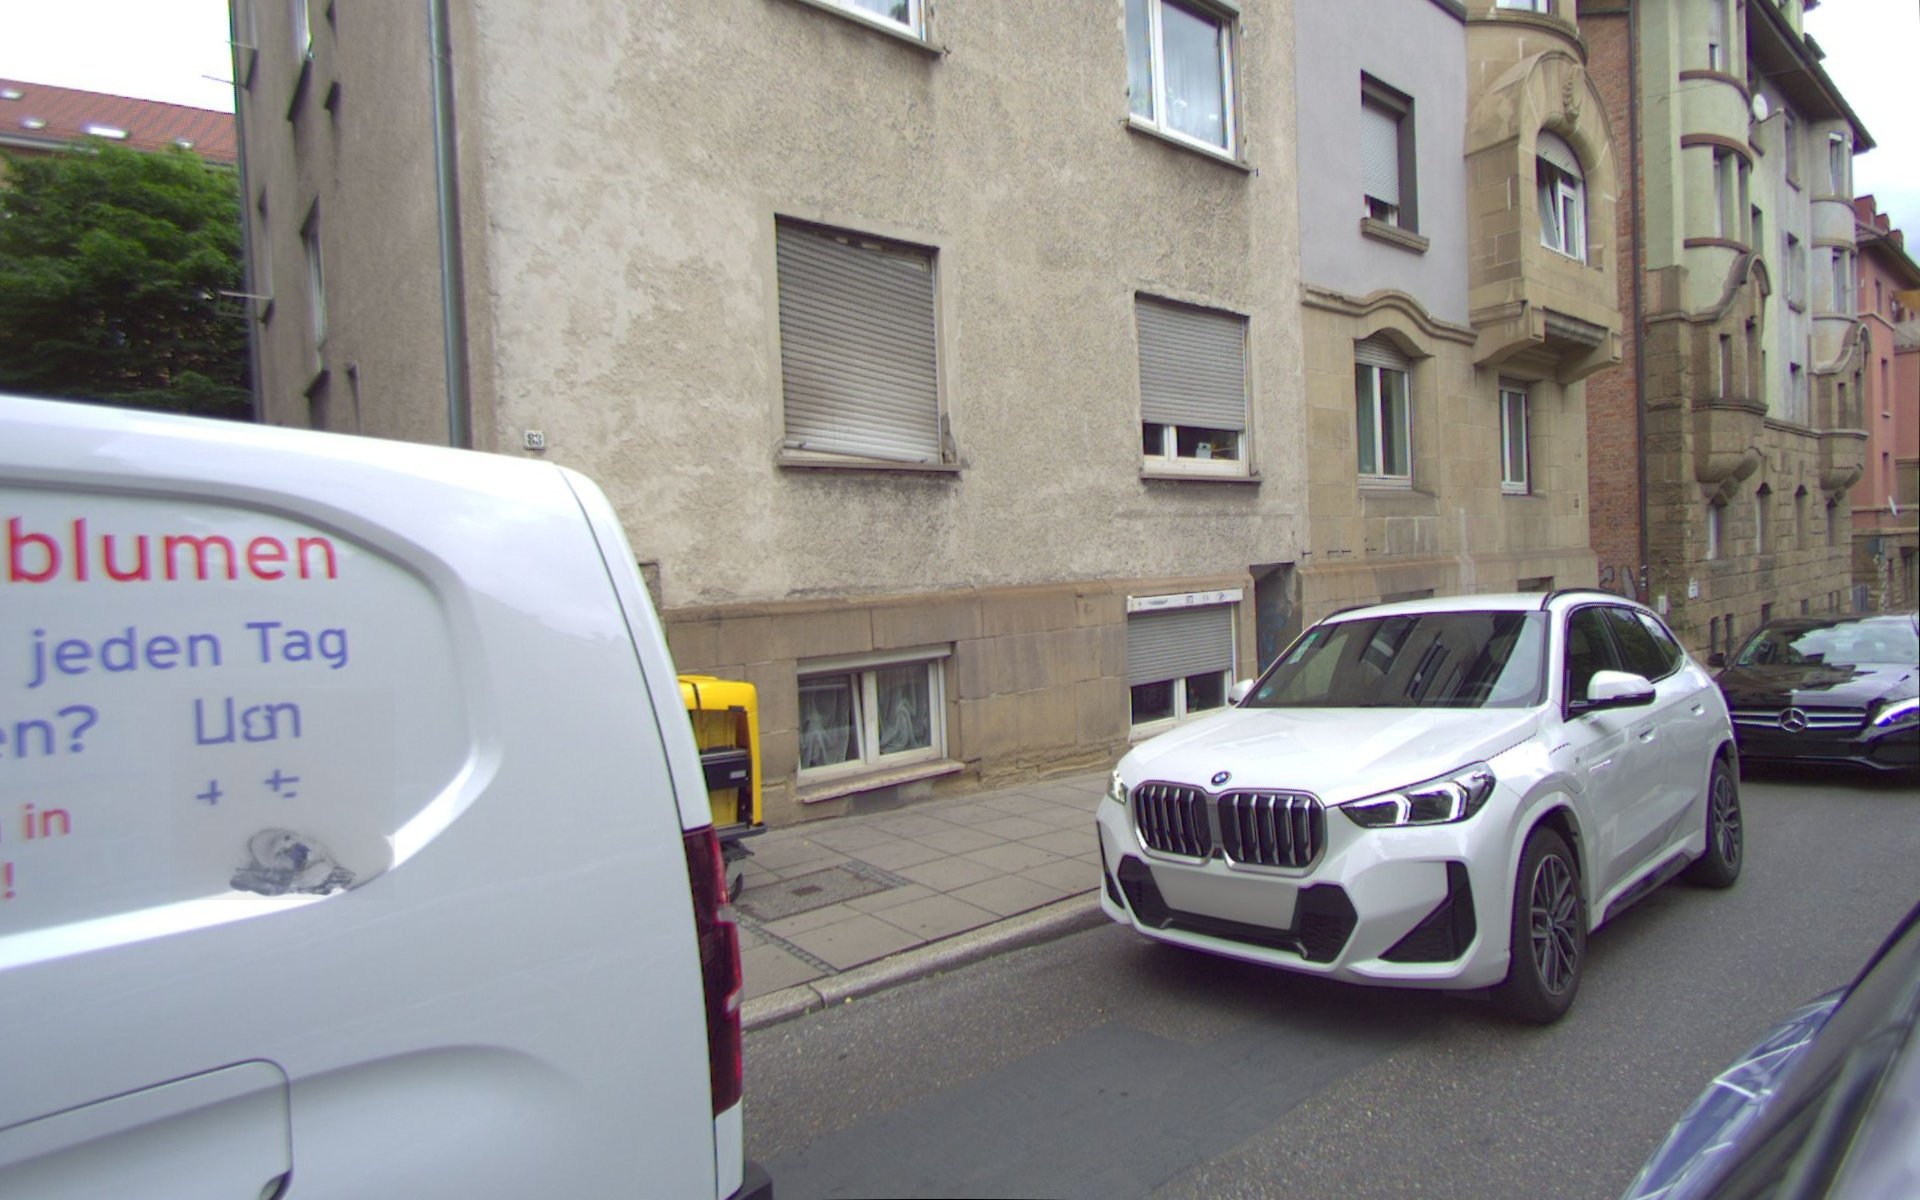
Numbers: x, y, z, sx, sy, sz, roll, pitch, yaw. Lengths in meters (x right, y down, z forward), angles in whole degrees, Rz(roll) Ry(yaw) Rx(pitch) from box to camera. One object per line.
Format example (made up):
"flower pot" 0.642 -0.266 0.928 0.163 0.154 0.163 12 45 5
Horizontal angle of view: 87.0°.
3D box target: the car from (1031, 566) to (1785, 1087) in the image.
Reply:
"car" 2.561 0.724 5.215 4.276 1.576 1.857 -1 -4 -42

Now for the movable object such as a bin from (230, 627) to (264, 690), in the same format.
"movable object such as a bin" -10.983 0.895 15.589 0.405 0.923 0.340 0 0 -40

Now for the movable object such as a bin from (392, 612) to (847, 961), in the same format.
"movable object such as a bin" -1.764 0.800 5.384 1.979 1.391 1.223 -1 2 -43

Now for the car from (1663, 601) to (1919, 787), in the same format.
"car" 8.448 0.749 9.608 4.133 1.395 1.882 -1 -3 -41

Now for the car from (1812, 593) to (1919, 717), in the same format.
"car" 13.573 0.662 13.994 4.226 1.534 1.935 -1 -3 -40

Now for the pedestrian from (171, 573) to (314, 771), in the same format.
"pedestrian" -6.628 0.622 9.357 0.807 1.666 0.773 0 5 41

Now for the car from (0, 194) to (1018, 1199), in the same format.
"car" -2.271 0.594 0.904 4.597 1.798 1.977 -1 -3 -42
